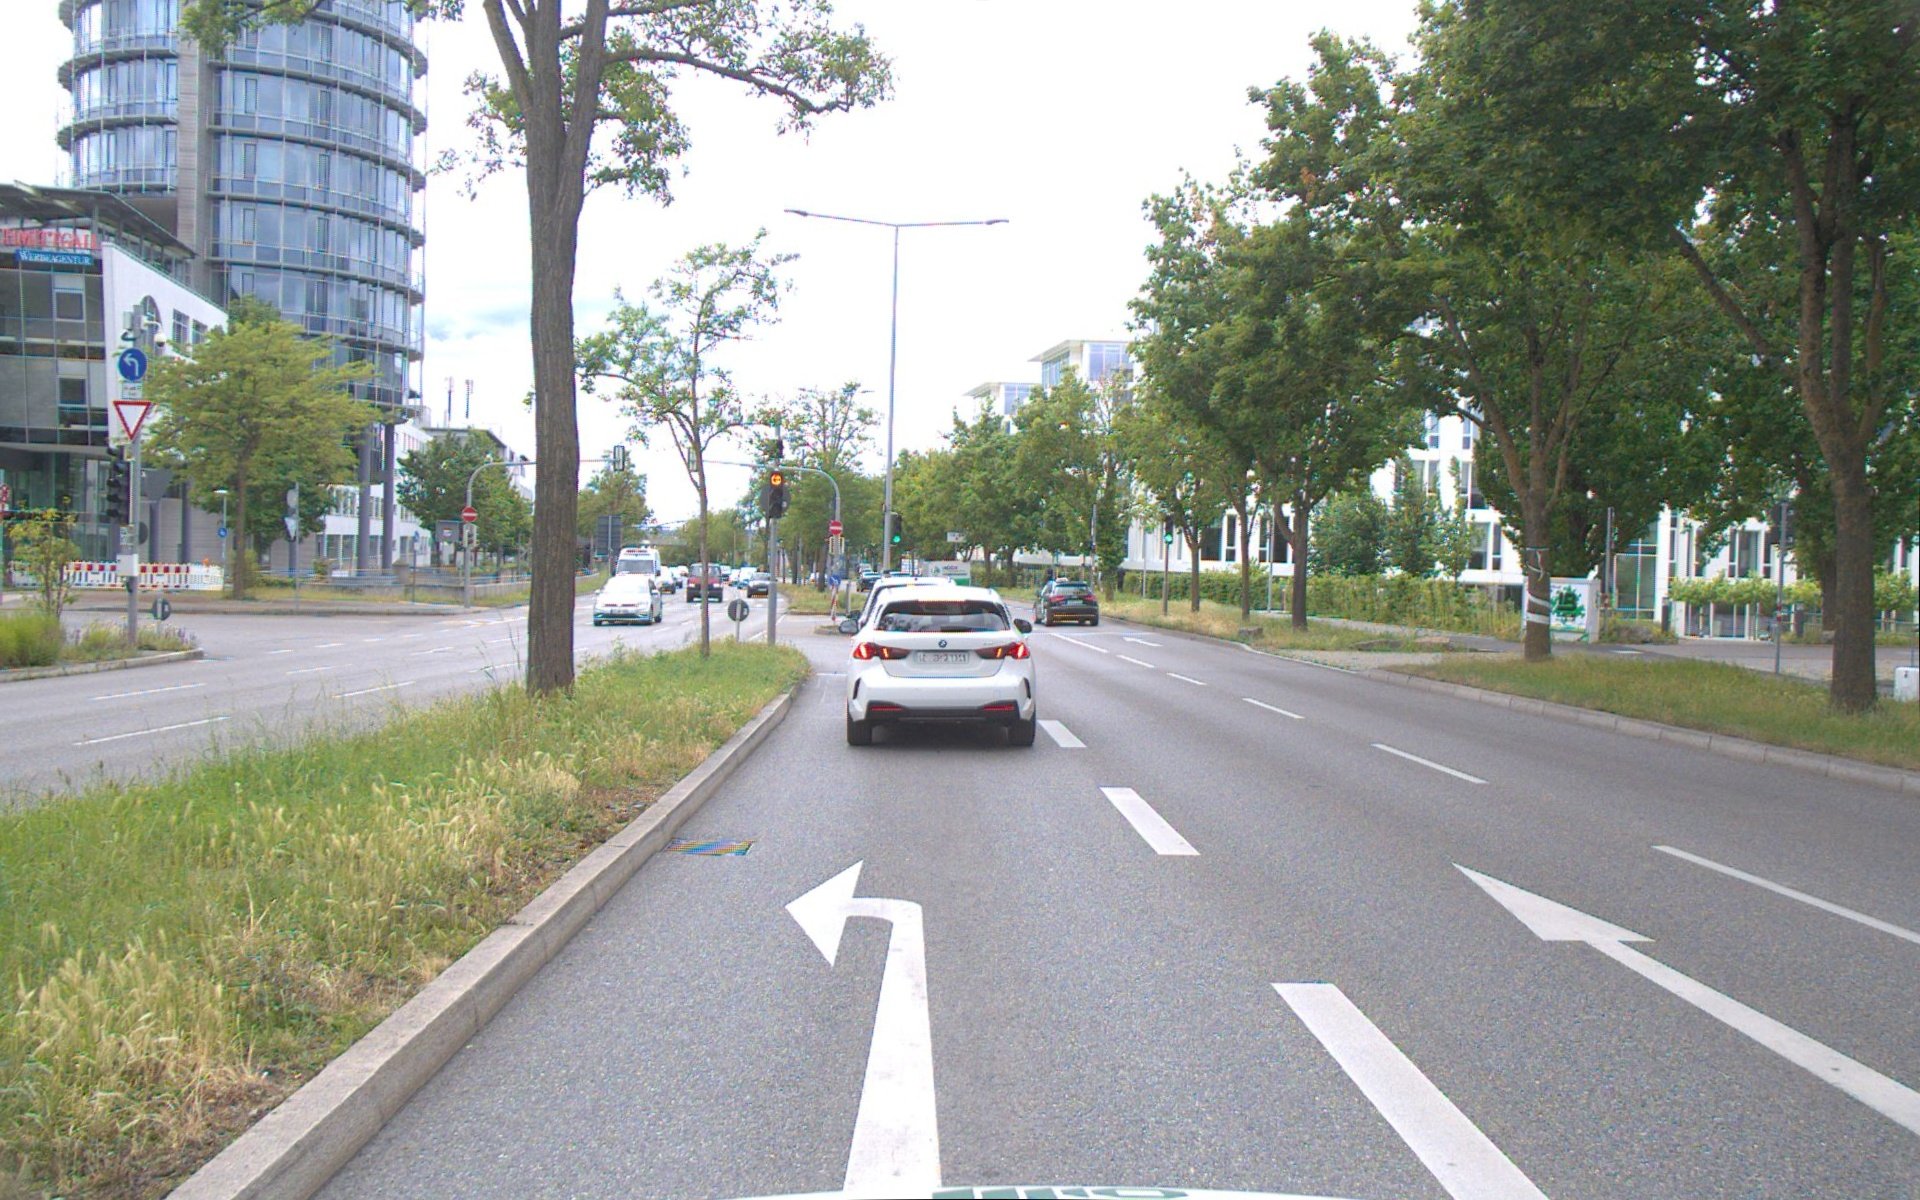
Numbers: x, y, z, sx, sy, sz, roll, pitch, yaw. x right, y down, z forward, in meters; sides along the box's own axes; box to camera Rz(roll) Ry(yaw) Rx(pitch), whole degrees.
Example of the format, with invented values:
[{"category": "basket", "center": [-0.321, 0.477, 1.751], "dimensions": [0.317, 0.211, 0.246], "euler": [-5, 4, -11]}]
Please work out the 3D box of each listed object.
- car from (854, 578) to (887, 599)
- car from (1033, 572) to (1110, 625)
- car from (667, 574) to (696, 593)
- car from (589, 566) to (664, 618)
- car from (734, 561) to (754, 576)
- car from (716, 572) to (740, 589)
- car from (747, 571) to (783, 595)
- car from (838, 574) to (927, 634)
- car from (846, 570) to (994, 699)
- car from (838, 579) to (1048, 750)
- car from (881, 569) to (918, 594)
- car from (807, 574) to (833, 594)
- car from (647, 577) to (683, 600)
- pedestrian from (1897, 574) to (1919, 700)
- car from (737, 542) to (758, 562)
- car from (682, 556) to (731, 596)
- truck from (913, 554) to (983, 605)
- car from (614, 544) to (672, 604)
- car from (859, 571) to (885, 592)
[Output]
[{"category": "car", "center": [-6.722, -0.878, 123.731], "dimensions": [1.958, 1.534, 3.989], "euler": [1, 1, -11]}, {"category": "car", "center": [3.577, -0.060, 53.853], "dimensions": [1.954, 1.624, 3.997], "euler": [1, 1, -4]}, {"category": "car", "center": [-21.725, -1.293, 128.995], "dimensions": [1.673, 1.443, 3.802], "euler": [0, 1, -2]}, {"category": "car", "center": [-10.324, -0.262, 51.429], "dimensions": [1.718, 1.469, 4.131], "euler": [3, 1, -4]}, {"category": "car", "center": [-26.017, -3.771, 199.236], "dimensions": [1.953, 1.646, 3.999], "euler": [3, 1, -2]}, {"category": "car", "center": [-22.266, -1.869, 159.117], "dimensions": [1.954, 1.516, 3.997], "euler": [2, 1, -4]}, {"category": "car", "center": [-11.451, -0.986, 97.262], "dimensions": [1.718, 1.395, 3.779], "euler": [0, 1, -2]}, {"category": "car", "center": [-2.074, 0.106, 45.408], "dimensions": [1.952, 1.534, 4.002], "euler": [1, 0, 4]}, {"category": "car", "center": [-0.552, 0.456, 24.218], "dimensions": [1.953, 1.701, 3.999], "euler": [1, 0, -1]}, {"category": "car", "center": [-0.114, 0.562, 16.610], "dimensions": [1.825, 1.474, 4.000], "euler": [1, 0, 1]}, {"category": "car", "center": [-3.920, -1.190, 106.332], "dimensions": [1.956, 1.534, 3.993], "euler": [1, 1, -8]}, {"category": "car", "center": [-11.260, -1.316, 132.840], "dimensions": [1.954, 1.516, 3.997], "euler": [2, 1, -4]}, {"category": "car", "center": [-18.771, -0.739, 105.248], "dimensions": [1.673, 1.443, 3.802], "euler": [0, 1, -2]}, {"category": "pedestrian", "center": [12.400, 0.467, 20.962], "dimensions": [0.710, 1.579, 0.587], "euler": [1, 0, 4]}, {"category": "car", "center": [-23.336, -5.299, 181.809], "dimensions": [1.954, 2.045, 4.321], "euler": [3, 1, -4]}, {"category": "car", "center": [-13.042, -1.233, 85.378], "dimensions": [1.896, 1.951, 4.972], "euler": [1, 1, -2]}, {"category": "truck", "center": [-0.684, -1.053, 88.112], "dimensions": [2.806, 2.563, 6.274], "euler": [1, 0, -9]}, {"category": "car", "center": [-15.363, -1.258, 80.361], "dimensions": [1.954, 2.679, 5.870], "euler": [3, 1, -4]}, {"category": "car", "center": [-6.741, -1.399, 126.380], "dimensions": [1.954, 1.516, 3.997], "euler": [2, 1, -4]}]
